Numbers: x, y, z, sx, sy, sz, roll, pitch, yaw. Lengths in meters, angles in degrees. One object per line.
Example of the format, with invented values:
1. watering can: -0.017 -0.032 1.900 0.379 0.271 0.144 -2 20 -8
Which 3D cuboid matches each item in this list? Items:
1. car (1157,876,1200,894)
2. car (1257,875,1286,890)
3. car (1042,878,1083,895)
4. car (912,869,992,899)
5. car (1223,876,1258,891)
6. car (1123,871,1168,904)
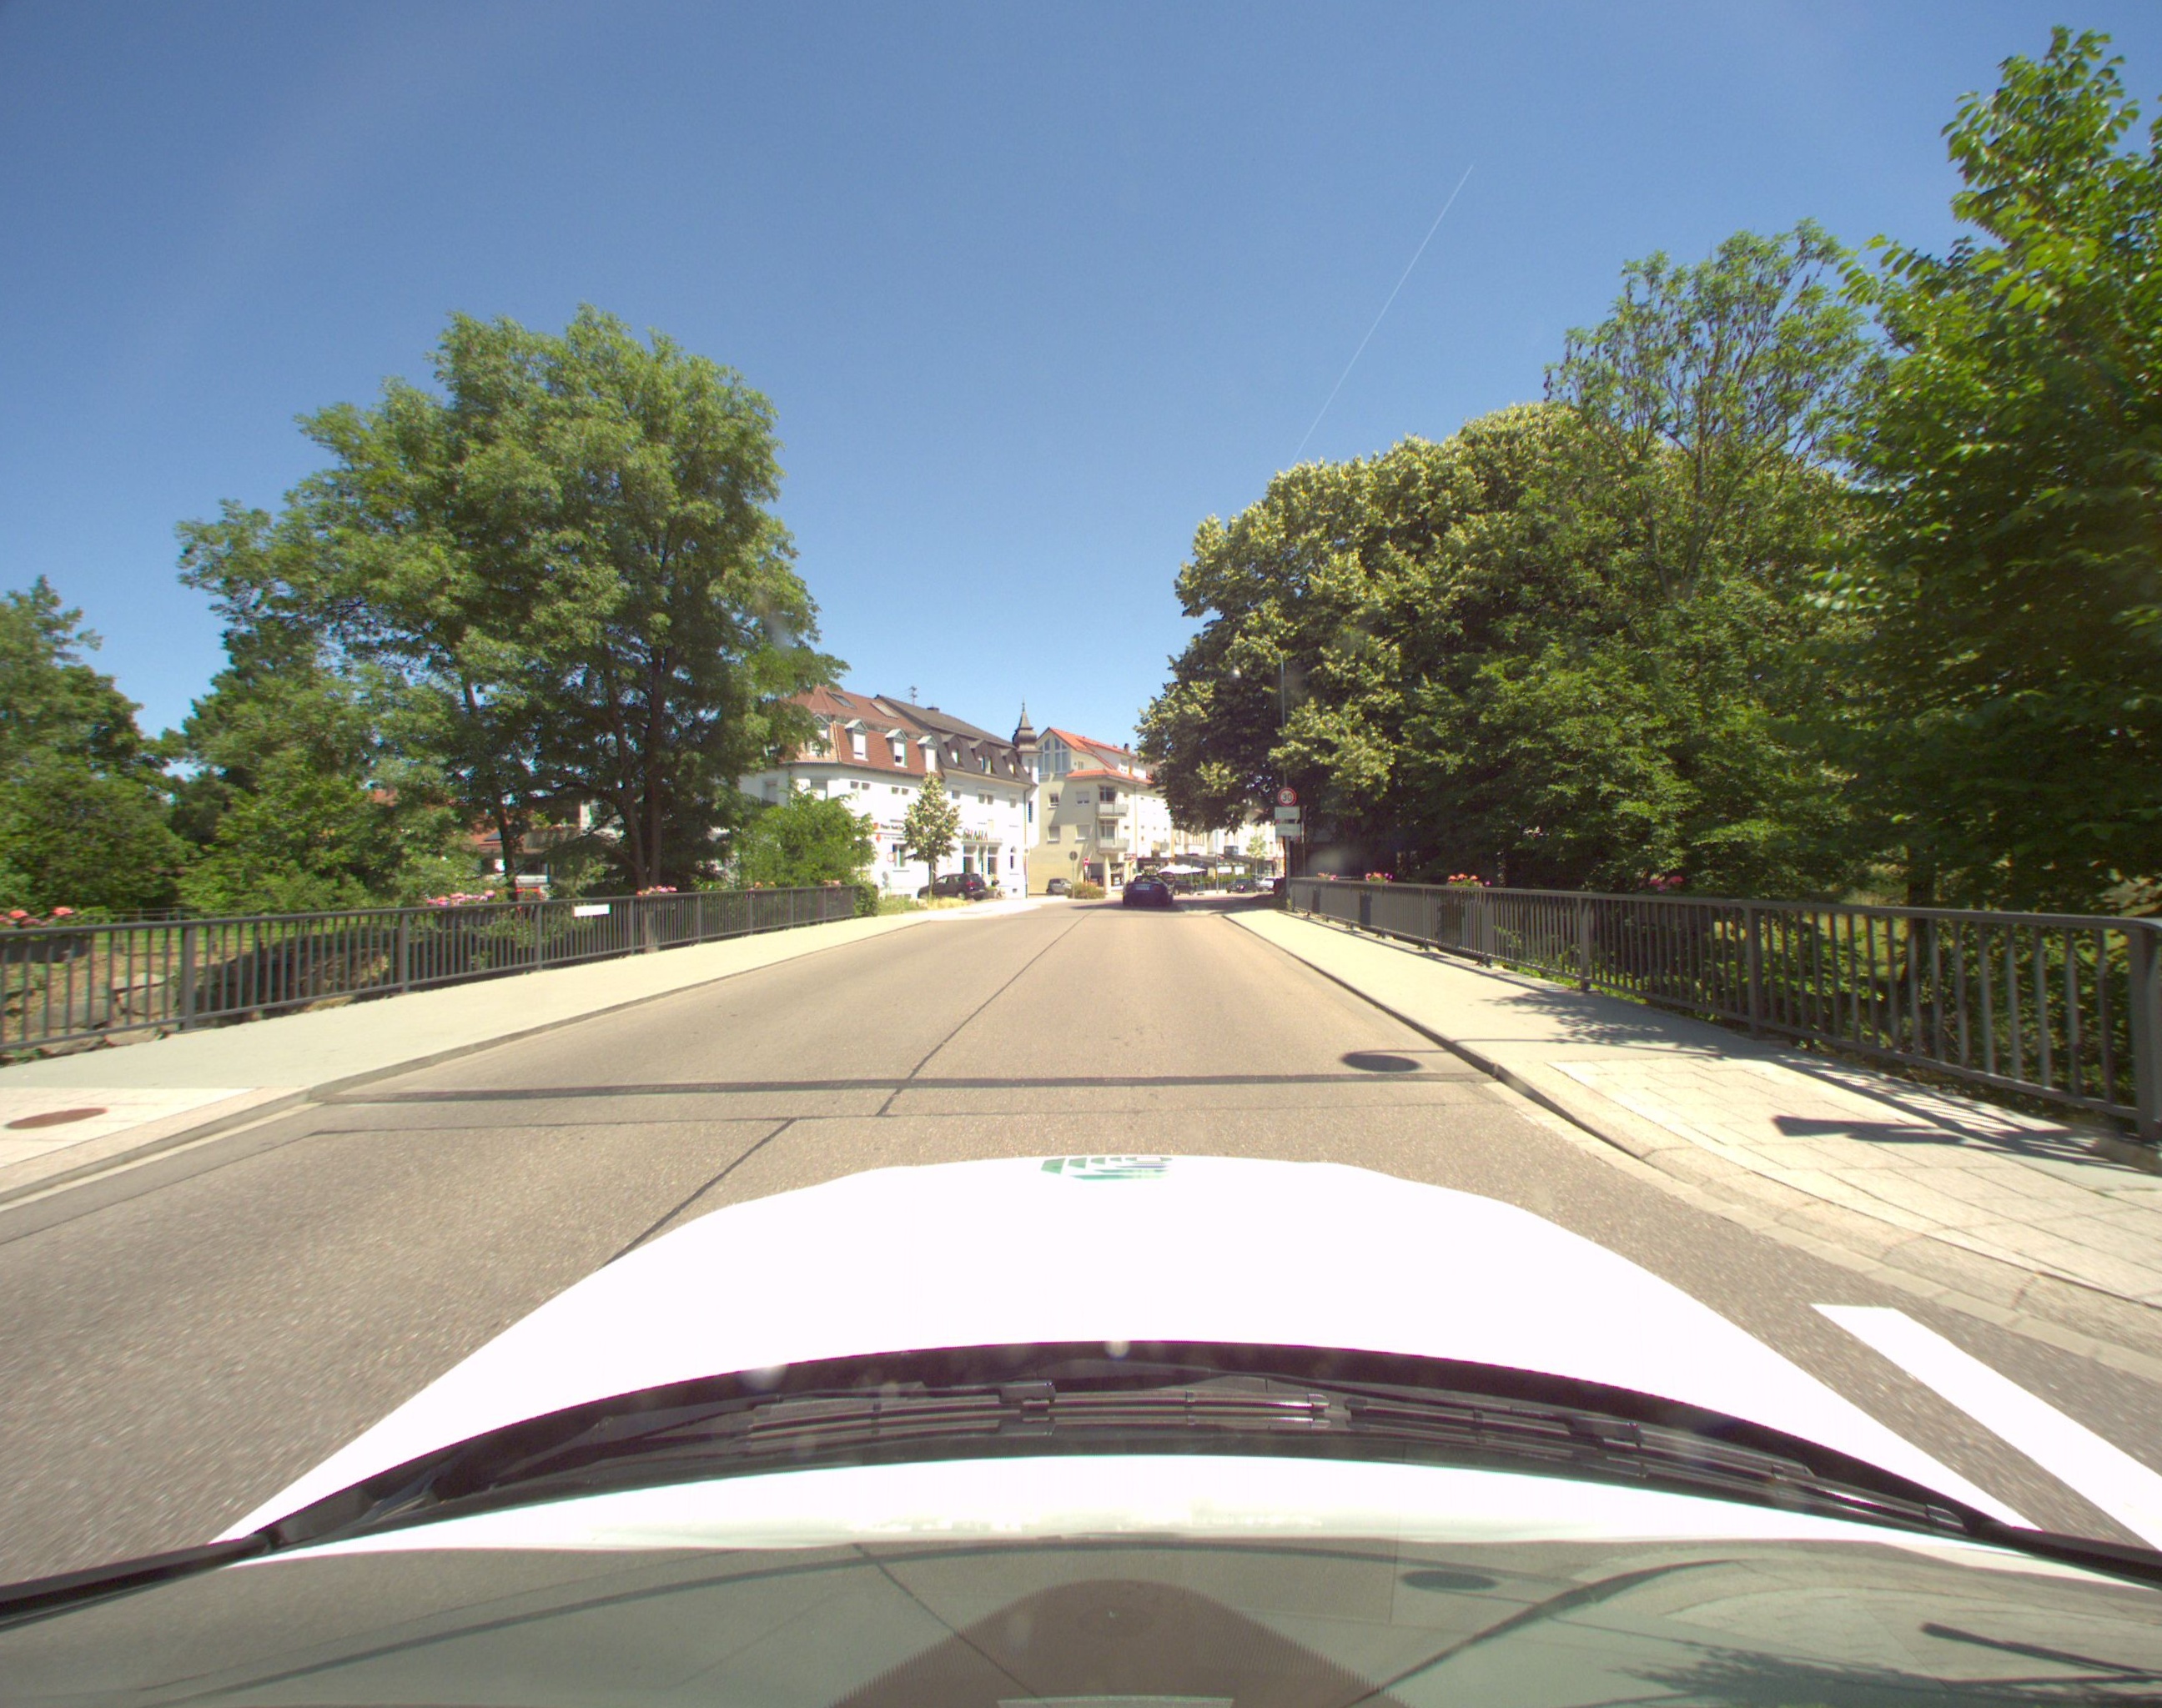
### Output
1. car: 8.526 2.726 71.057 1.696 1.461 4.155 0 -2 39
2. car: 20.093 3.024 85.886 1.629 1.480 3.965 0 -1 34
3. car: -1.652 2.913 72.912 3.233 1.458 1.701 -2 -2 24
4. car: -7.484 1.755 47.239 4.142 1.662 1.982 -2 -2 24
5. car: 15.619 2.855 79.574 1.816 1.429 4.812 -1 -1 31
6. car: 2.801 1.424 35.817 1.863 1.342 4.599 0 -1 3
